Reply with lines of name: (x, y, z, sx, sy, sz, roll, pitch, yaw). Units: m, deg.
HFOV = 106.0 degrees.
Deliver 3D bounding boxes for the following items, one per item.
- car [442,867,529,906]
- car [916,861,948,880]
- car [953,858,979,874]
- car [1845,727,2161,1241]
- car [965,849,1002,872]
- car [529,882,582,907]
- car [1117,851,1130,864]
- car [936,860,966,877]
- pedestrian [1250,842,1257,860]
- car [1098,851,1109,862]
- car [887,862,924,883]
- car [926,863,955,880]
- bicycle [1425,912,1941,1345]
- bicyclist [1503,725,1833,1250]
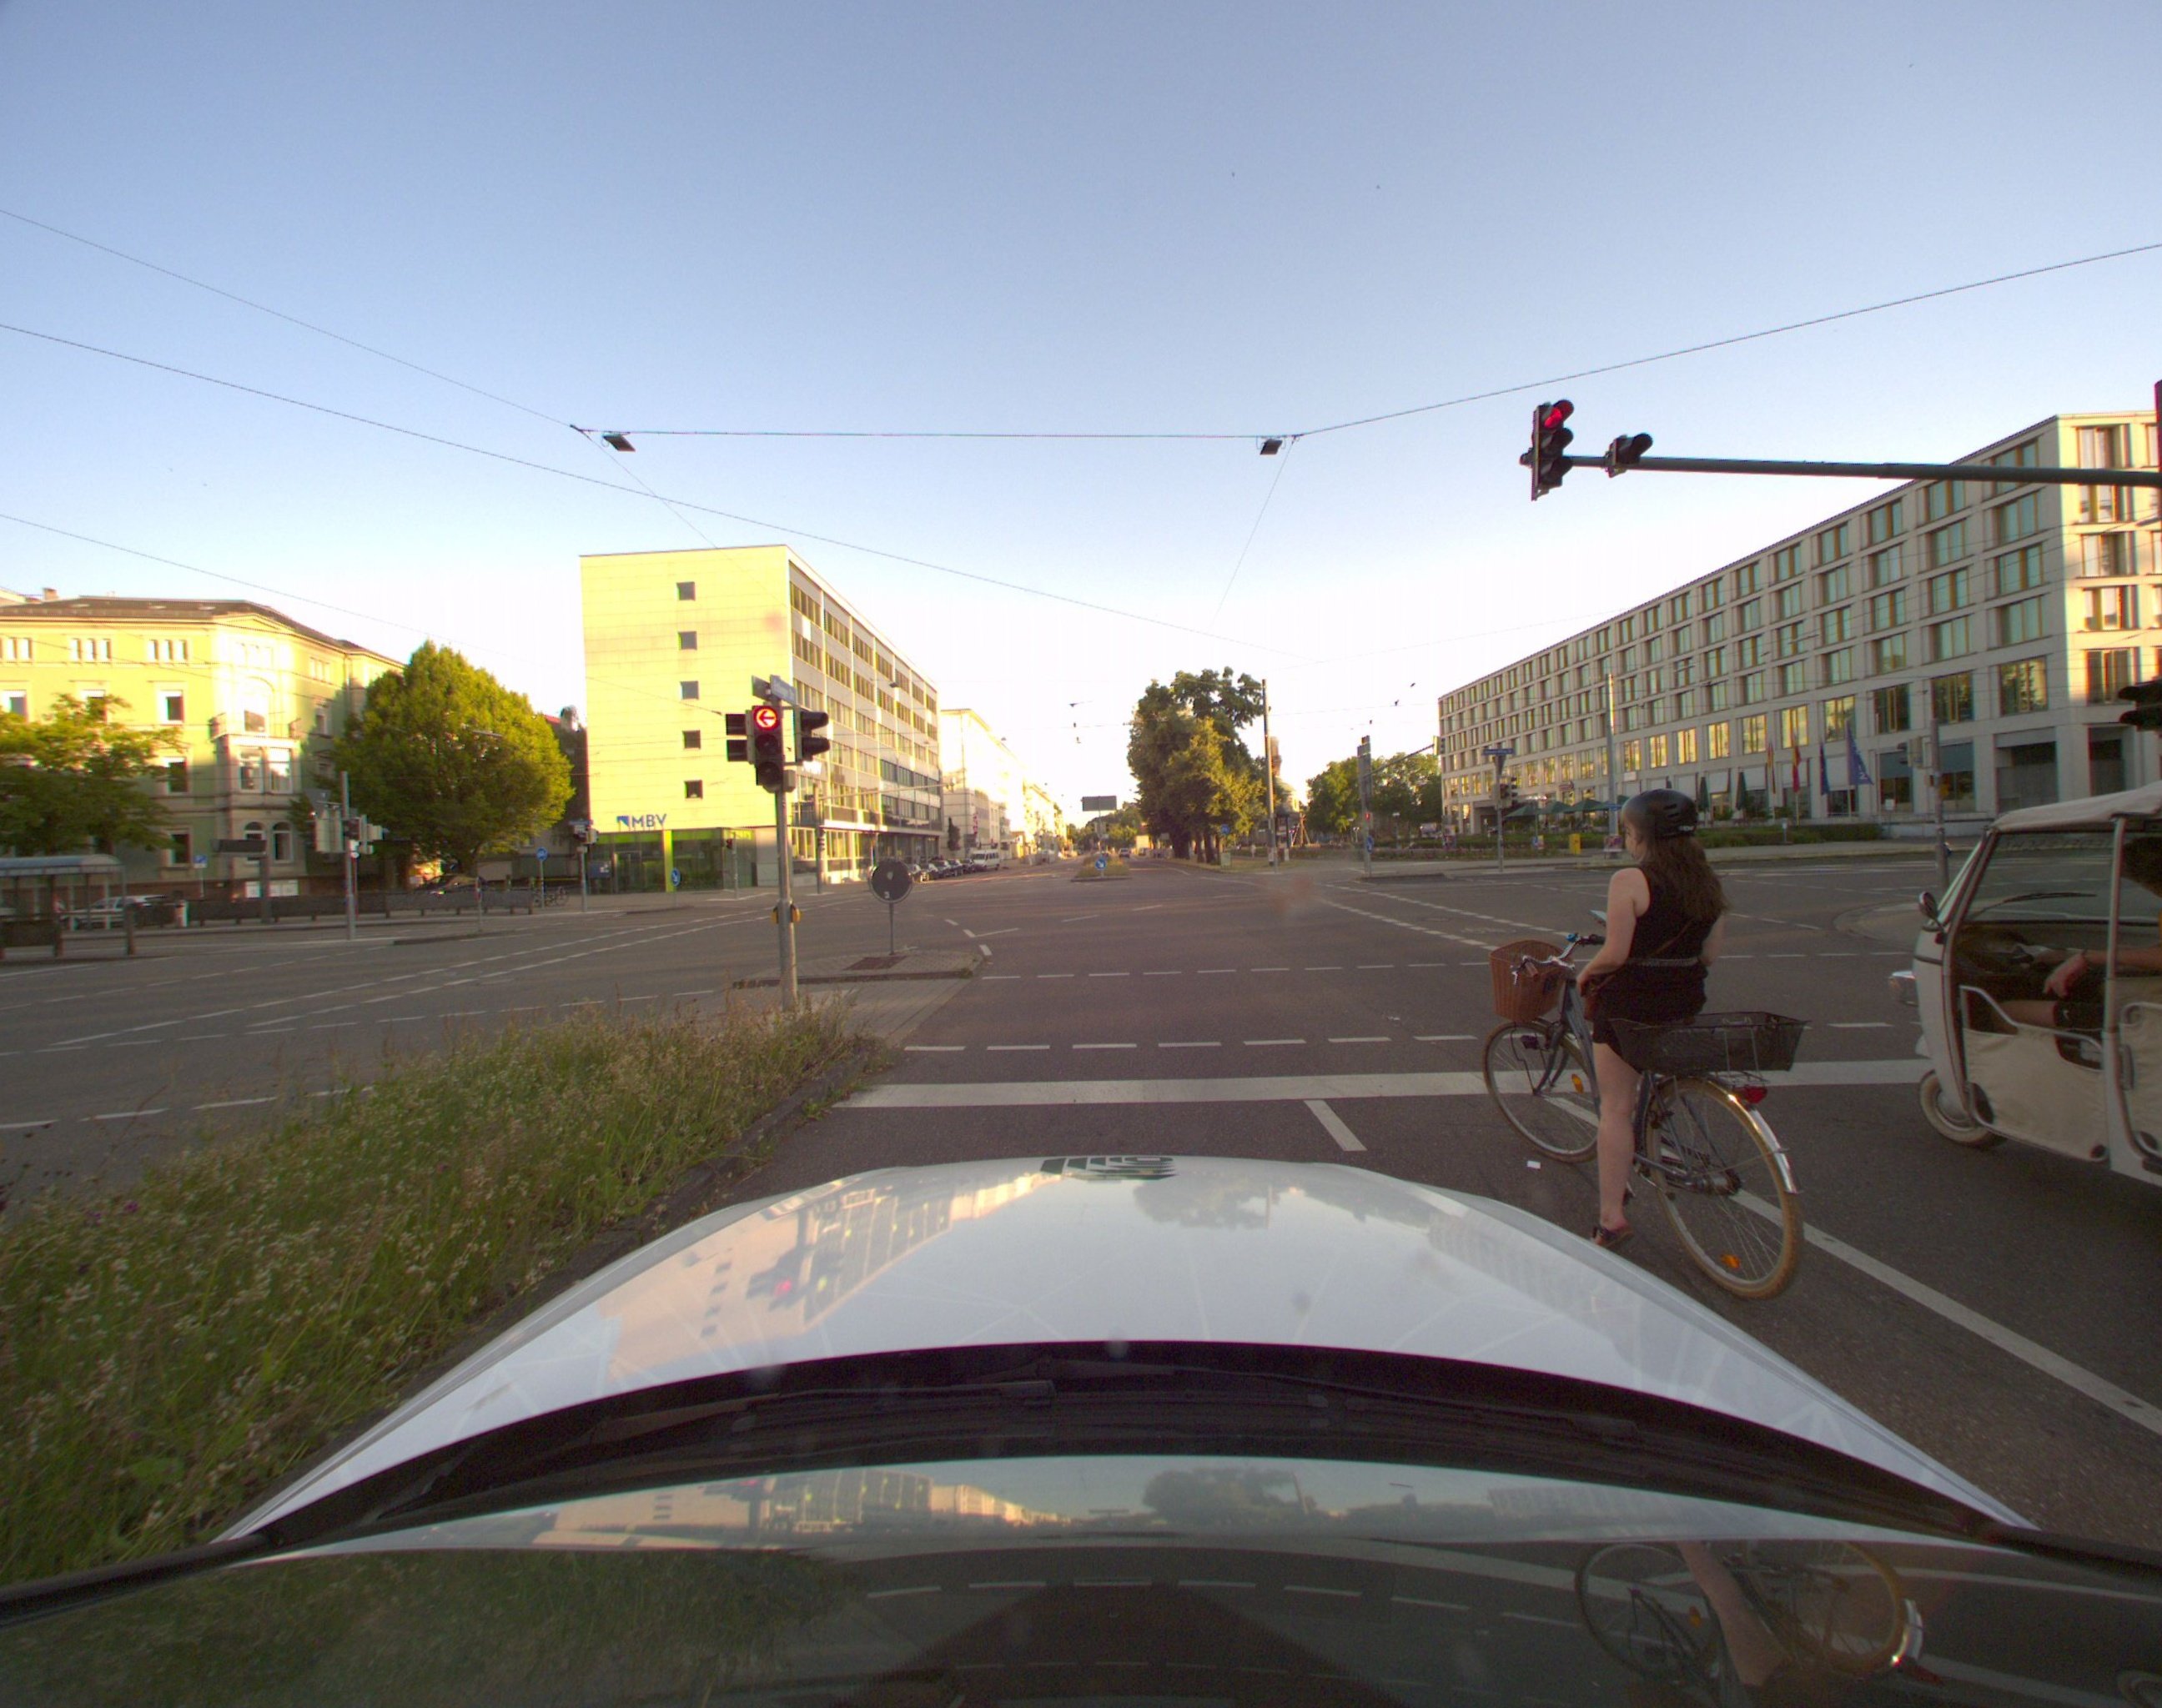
car: (-34.859, 1.860, 47.803, 1.986, 2.013, 4.001, -3, 0, 1)
car: (-12.631, 1.398, 69.204, 1.790, 1.475, 4.000, -3, -2, 1)
car: (-12.106, 1.299, 85.925, 1.787, 1.475, 4.005, -3, -2, 5)
car: (4.445, 0.431, 2.728, 1.453, 1.780, 2.568, -2, 1, 4)
car: (-10.995, 0.739, 92.499, 2.161, 2.385, 6.010, -3, -2, 13)
car: (-25.736, 1.955, 39.964, 0.850, 1.073, 2.522, -3, 0, 1)
car: (7.051, 0.553, 135.947, 1.986, 2.013, 4.001, -3, 0, 1)
car: (-12.661, 1.468, 79.532, 1.787, 1.475, 4.006, -3, -2, 6)
pedestrian: (16.773, -0.291, 79.064, 0.506, 1.668, 0.531, -3, 0, 1)
car: (4.166, 0.467, 149.644, 1.986, 1.816, 4.001, -3, 0, 1)
car: (-13.536, 1.469, 62.955, 1.790, 1.475, 4.000, -3, -2, 1)
car: (-12.828, 1.619, 74.355, 1.790, 1.475, 4.000, -3, -2, 1)
bicycle: (2.156, 0.858, 3.362, 0.635, 1.069, 2.070, -2, 0, 2)
bicyclist: (2.118, 0.437, 3.048, 0.626, 1.693, 0.749, -3, 0, 1)
